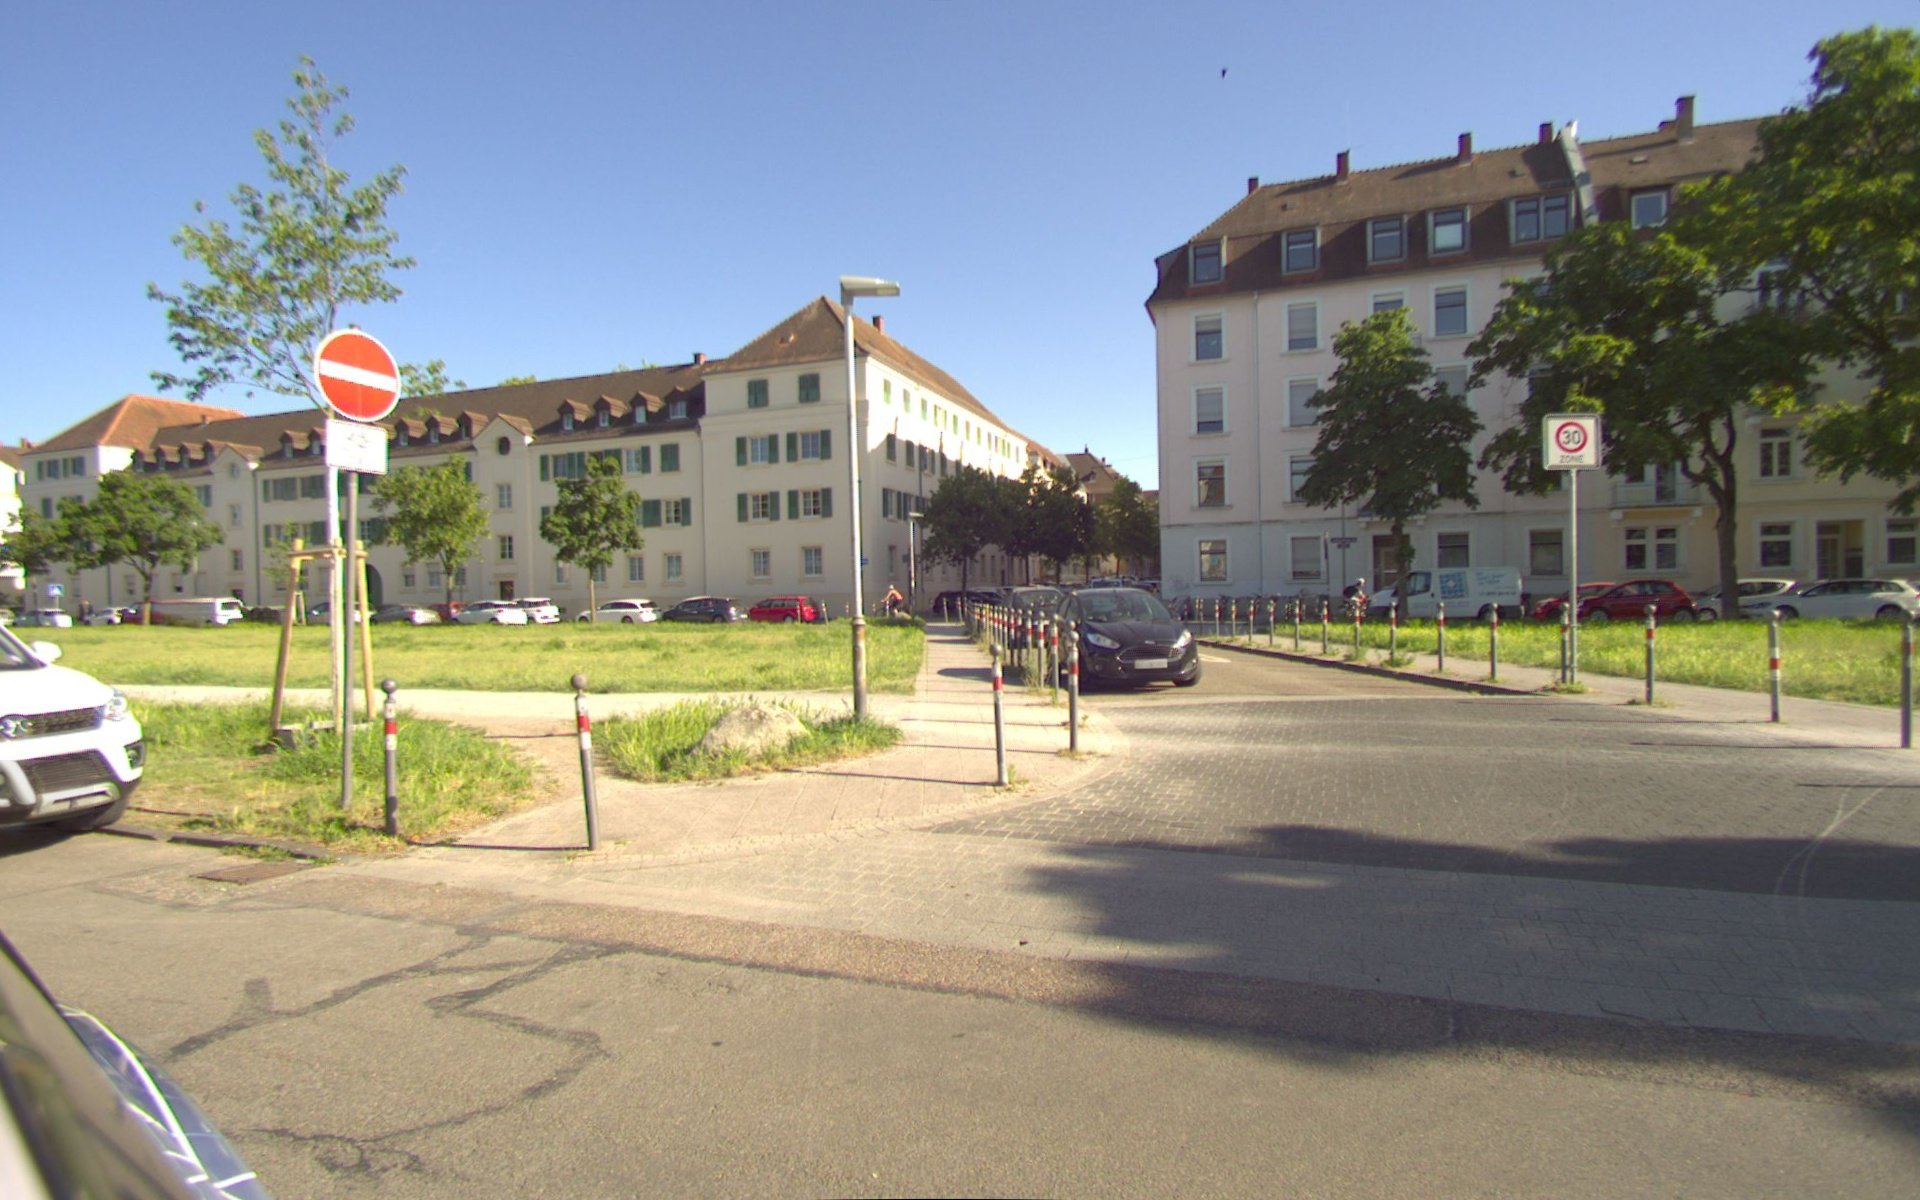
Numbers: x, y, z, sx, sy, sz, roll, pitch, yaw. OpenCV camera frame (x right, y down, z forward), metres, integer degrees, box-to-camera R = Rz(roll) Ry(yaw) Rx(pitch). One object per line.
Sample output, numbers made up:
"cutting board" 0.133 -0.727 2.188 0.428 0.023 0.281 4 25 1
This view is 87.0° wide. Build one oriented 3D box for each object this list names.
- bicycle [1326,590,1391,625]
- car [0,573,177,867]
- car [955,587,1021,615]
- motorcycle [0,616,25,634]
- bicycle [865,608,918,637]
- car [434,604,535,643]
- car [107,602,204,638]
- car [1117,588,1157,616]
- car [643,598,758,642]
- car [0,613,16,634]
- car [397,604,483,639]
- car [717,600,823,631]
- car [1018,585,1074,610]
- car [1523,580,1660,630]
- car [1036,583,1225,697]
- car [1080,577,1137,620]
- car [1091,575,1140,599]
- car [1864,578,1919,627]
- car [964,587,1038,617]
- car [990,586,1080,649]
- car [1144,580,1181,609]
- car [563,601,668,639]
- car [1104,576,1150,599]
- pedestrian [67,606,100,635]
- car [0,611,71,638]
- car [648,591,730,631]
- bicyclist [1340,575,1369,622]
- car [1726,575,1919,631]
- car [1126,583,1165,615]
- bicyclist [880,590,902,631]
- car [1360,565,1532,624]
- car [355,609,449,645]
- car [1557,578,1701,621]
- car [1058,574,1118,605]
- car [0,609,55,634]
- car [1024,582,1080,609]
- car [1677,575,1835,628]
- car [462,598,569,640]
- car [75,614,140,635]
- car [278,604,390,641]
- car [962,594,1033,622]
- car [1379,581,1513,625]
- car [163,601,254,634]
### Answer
"bicycle" 14.788 0.285 37.625 2.132 1.268 0.712 -1 0 13
"car" -7.372 0.716 6.581 4.259 1.659 1.749 -1 -1 23
"car" 1.692 0.047 60.026 3.585 1.532 1.699 -1 0 18
"motorcycle" -74.479 1.952 79.318 2.129 1.315 0.813 -1 0 20
"bicycle" -3.111 1.011 46.119 2.241 1.272 0.838 -1 1 21
"car" -23.735 1.178 50.518 4.224 1.834 2.229 -1 0 19
"car" -47.659 1.204 59.956 5.220 1.999 2.212 -1 0 21
"car" 10.793 0.107 61.419 1.921 1.580 3.861 -1 1 17
"car" -11.715 0.901 45.742 4.669 1.834 2.151 -1 0 20
"car" -63.181 1.569 65.548 3.489 1.343 1.644 -1 0 21
"car" -30.360 1.274 59.065 4.135 1.919 2.256 -1 0 20
"car" -9.508 0.776 50.748 4.922 1.496 1.986 -1 0 21
"car" 6.038 -0.154 70.639 3.585 1.653 1.822 -1 0 17
"car" 23.546 0.184 37.924 4.027 1.765 1.985 -1 0 22
"car" 2.436 0.515 15.661 1.892 1.420 4.351 -3 1 -3
"car" 7.592 -0.096 51.276 2.123 2.029 4.551 -1 1 18
"car" 16.444 -1.408 107.165 4.914 2.413 1.945 -1 0 18
"car" 33.260 0.056 33.984 3.832 1.627 1.878 -1 0 21
"car" 2.524 0.105 62.092 4.208 1.714 1.696 -1 0 19
"car" 1.997 0.454 28.151 1.900 1.588 4.351 -1 0 -3
"car" 14.960 -0.418 74.633 2.136 1.998 4.881 -1 1 18
"car" -18.515 1.084 54.393 5.122 1.900 2.146 -1 0 21
"car" 18.891 -1.418 114.549 4.914 2.413 1.945 -1 0 18
"pedestrian" -63.467 1.479 73.283 1.153 1.978 1.337 -1 0 16
"car" -58.232 1.526 63.617 4.204 1.595 1.783 -1 0 21
"car" -14.093 0.571 52.603 3.869 2.029 1.659 -1 0 21
"bicyclist" 14.666 -0.060 37.657 0.870 1.703 0.629 -1 0 13
"car" 26.301 0.093 30.578 4.660 1.573 1.689 -1 0 19
"car" 12.178 -0.114 66.184 1.982 1.988 5.028 -1 1 16
"bicyclist" -3.141 0.472 46.119 0.796 1.816 0.670 -1 0 21
"car" 16.538 -0.169 34.768 5.058 1.886 2.075 -1 0 19
"car" -28.986 1.390 52.577 3.982 1.763 2.307 -1 0 23
"car" 21.384 -0.018 32.480 3.498 1.289 1.689 -1 0 19
"car" 11.106 -0.884 87.944 4.914 2.538 1.945 -1 0 18
"car" -79.664 1.791 85.893 2.030 1.970 3.787 -1 0 23
"car" 6.642 -0.299 72.949 3.681 1.848 1.945 -1 0 17
"car" 28.218 0.049 36.035 3.970 1.770 1.856 -1 0 21
"car" -25.087 1.084 57.159 5.217 2.233 2.523 -1 0 20
"car" -58.982 1.715 70.029 3.971 1.366 1.762 -1 0 21
"car" -33.663 1.210 54.423 5.418 1.834 2.440 -1 0 23
"car" 2.118 0.446 56.822 3.640 1.533 1.702 -1 0 20
"car" 18.883 0.101 39.516 4.415 1.598 1.989 -1 0 18
"car" -49.222 1.154 66.288 5.216 1.999 2.214 -1 0 19
